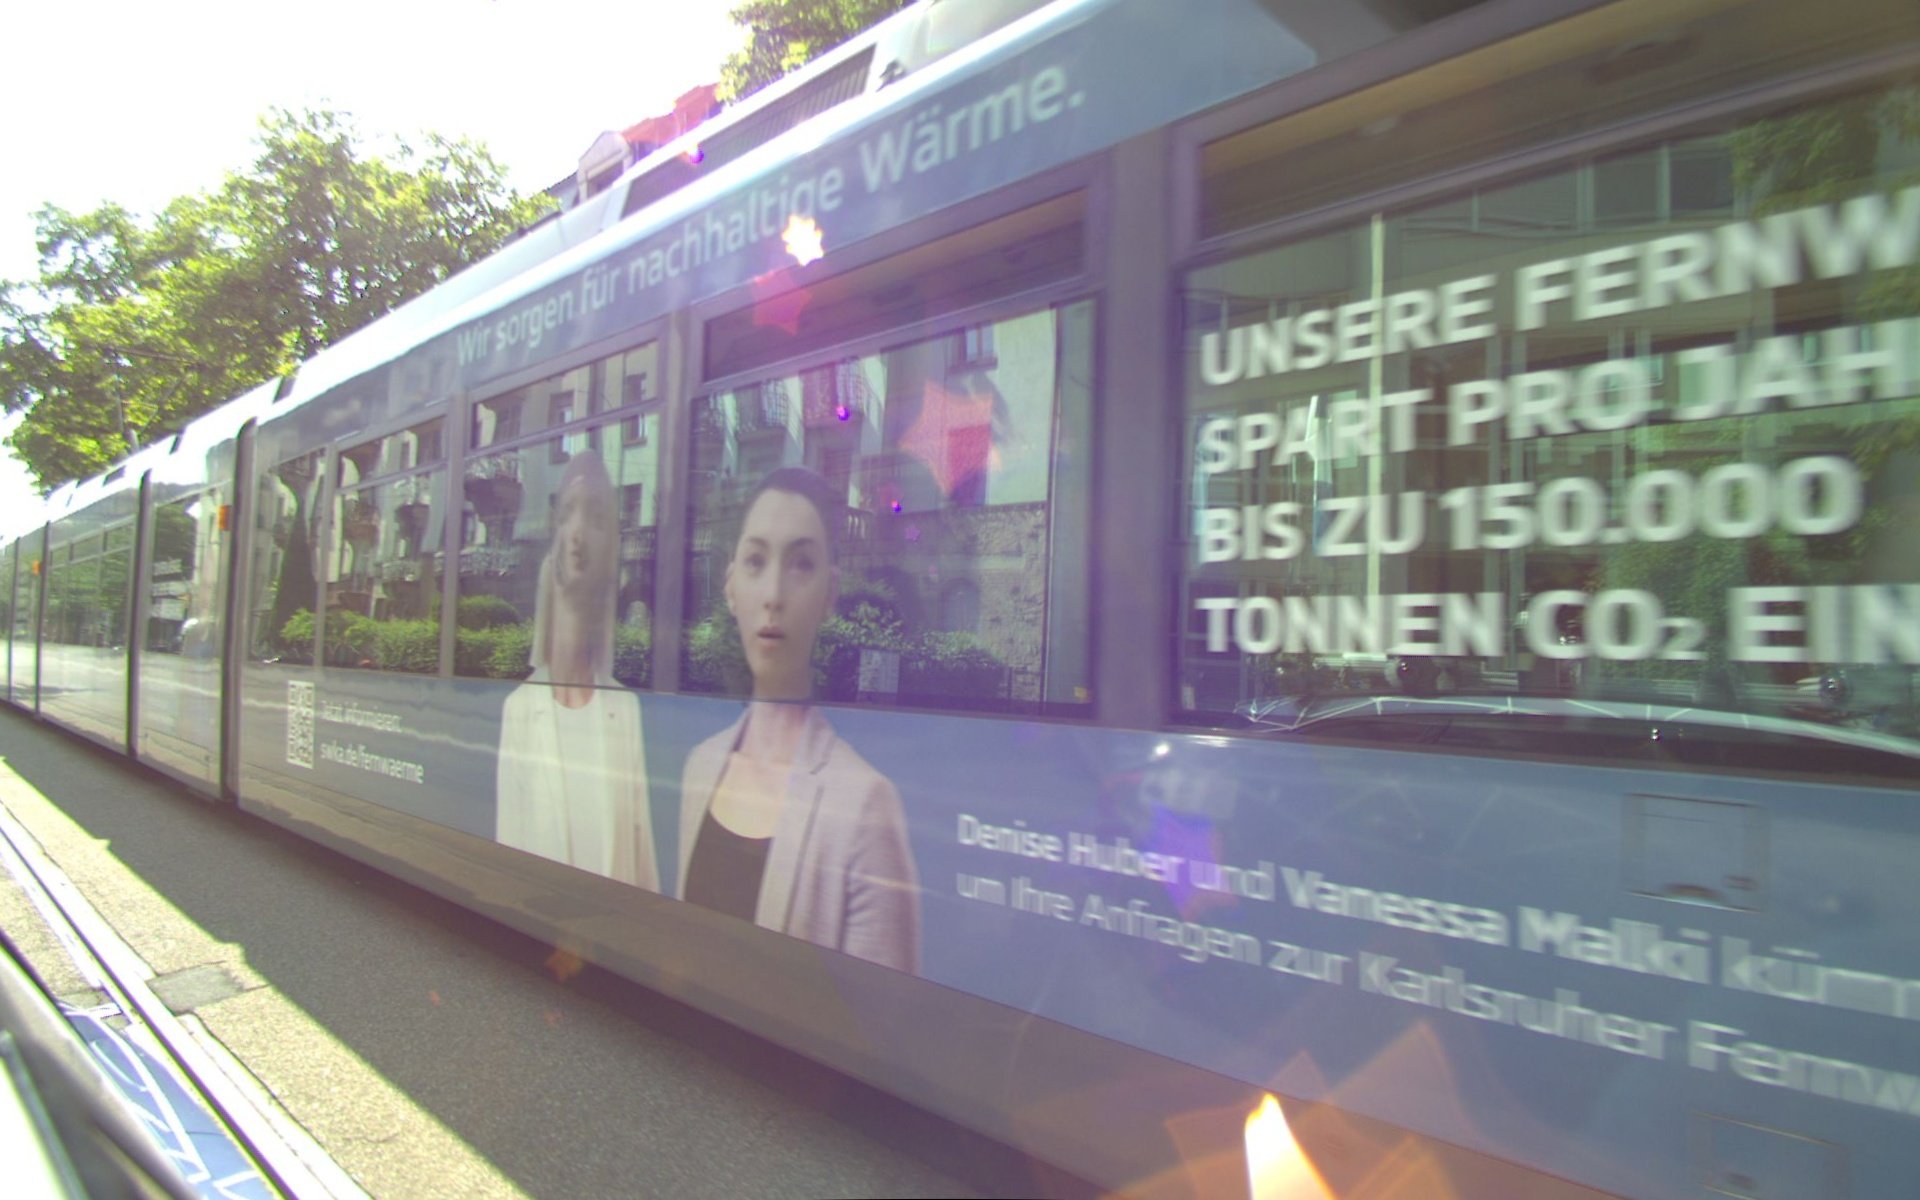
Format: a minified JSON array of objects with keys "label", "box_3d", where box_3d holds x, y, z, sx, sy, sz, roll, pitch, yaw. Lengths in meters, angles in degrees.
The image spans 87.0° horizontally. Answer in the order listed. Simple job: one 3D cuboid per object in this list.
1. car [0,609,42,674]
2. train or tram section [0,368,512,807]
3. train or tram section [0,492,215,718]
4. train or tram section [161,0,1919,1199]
[{"label":"car","box_3d":[-39.601,1.723,41.467,6.362,2.527,2.291,-3,-3,42]},{"label":"train or tram section","box_3d":[-9.555,0.028,12.689,11.469,3.415,2.624,-1,-4,42]},{"label":"train or tram section","box_3d":[-18.396,0.281,20.616,12.311,3.463,2.624,-2,-4,42]},{"label":"train or tram section","box_3d":[0.085,-0.144,4.015,14.104,3.381,2.624,-1,-4,42]}]
